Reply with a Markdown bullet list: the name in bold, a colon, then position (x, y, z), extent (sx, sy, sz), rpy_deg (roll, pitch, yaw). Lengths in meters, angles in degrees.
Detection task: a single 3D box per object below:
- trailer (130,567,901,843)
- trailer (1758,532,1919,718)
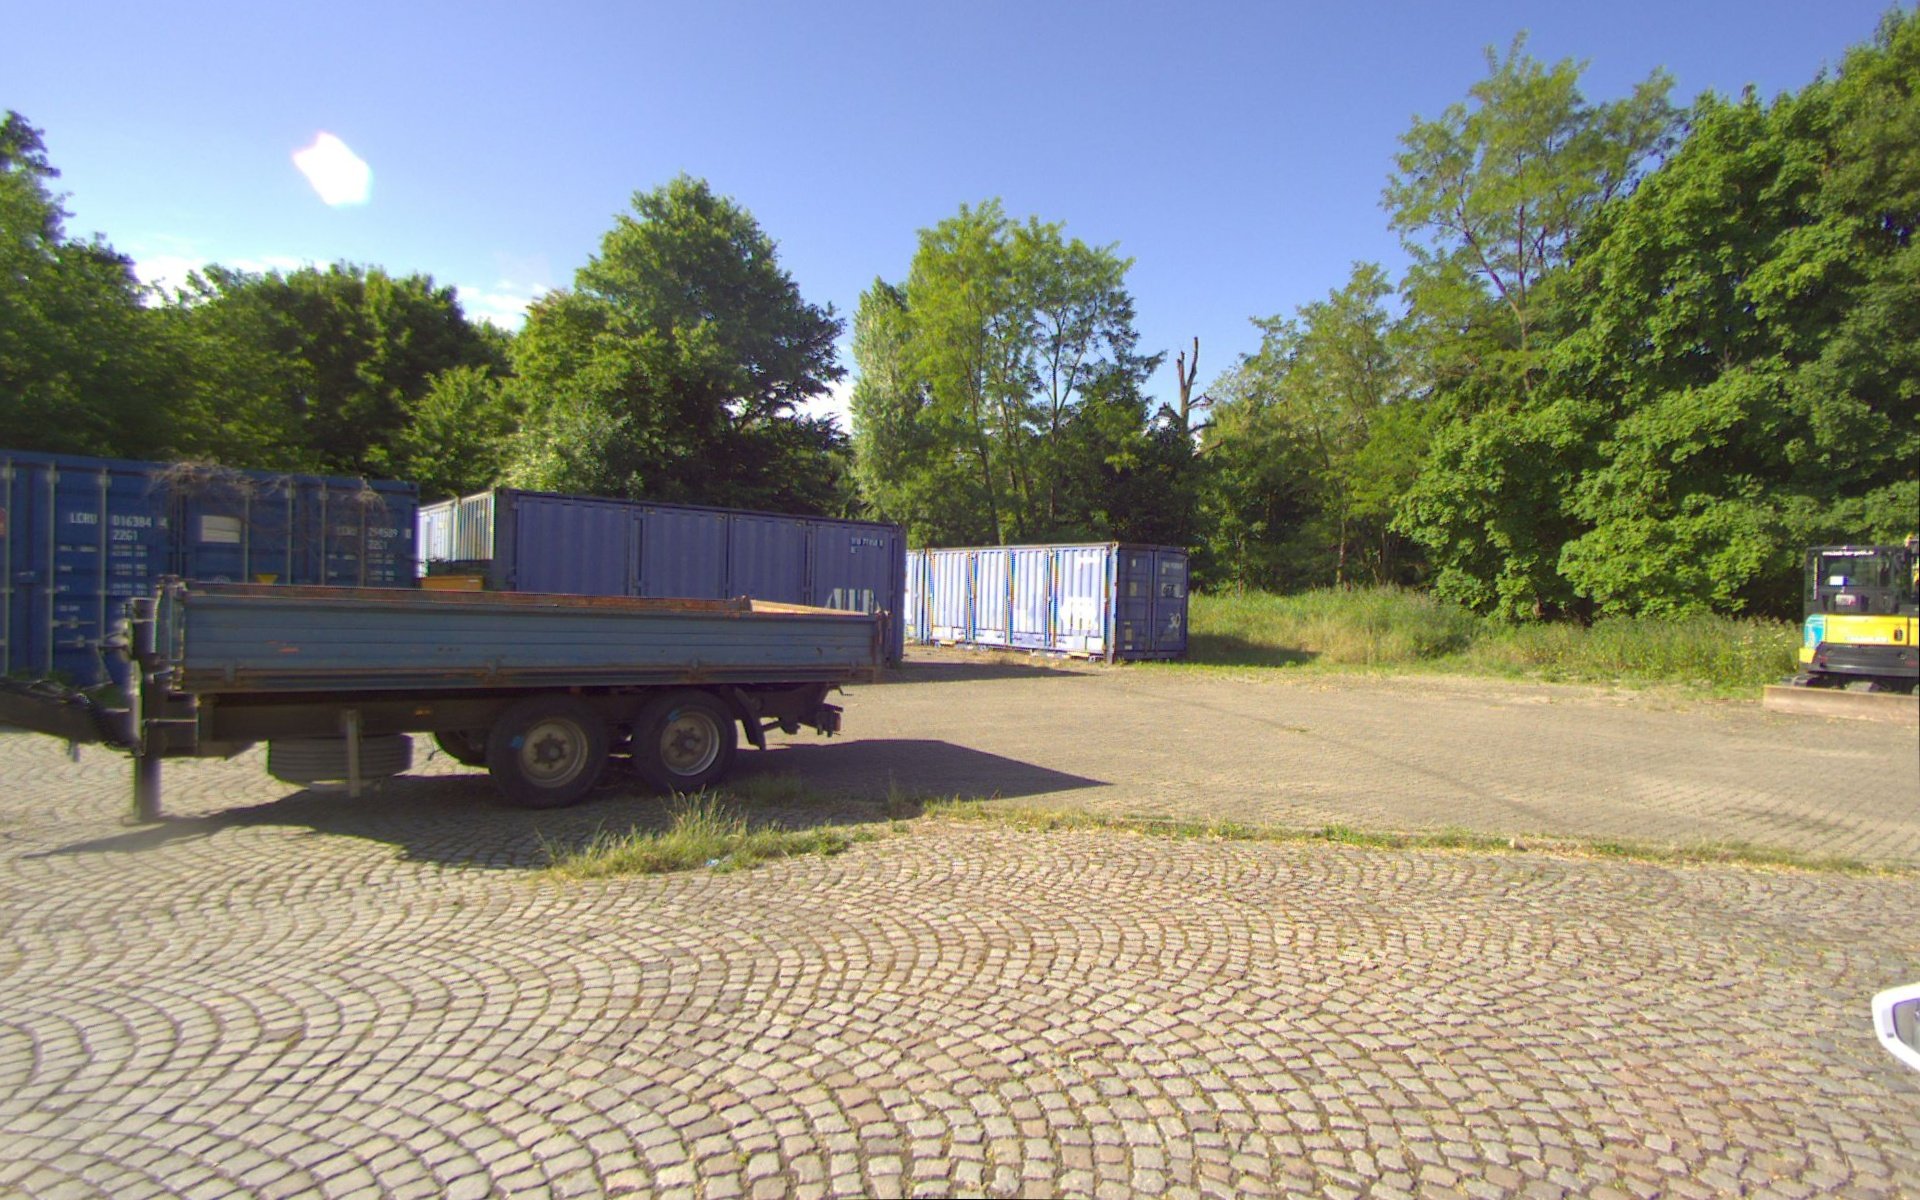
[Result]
- **trailer**: position (-3.191, 0.591, 7.750), extent (4.819, 1.433, 2.620), rpy_deg (2, 0, -38)
- **trailer**: position (14.040, 0.279, 15.330), extent (2.823, 2.573, 2.242), rpy_deg (-3, 3, -37)
